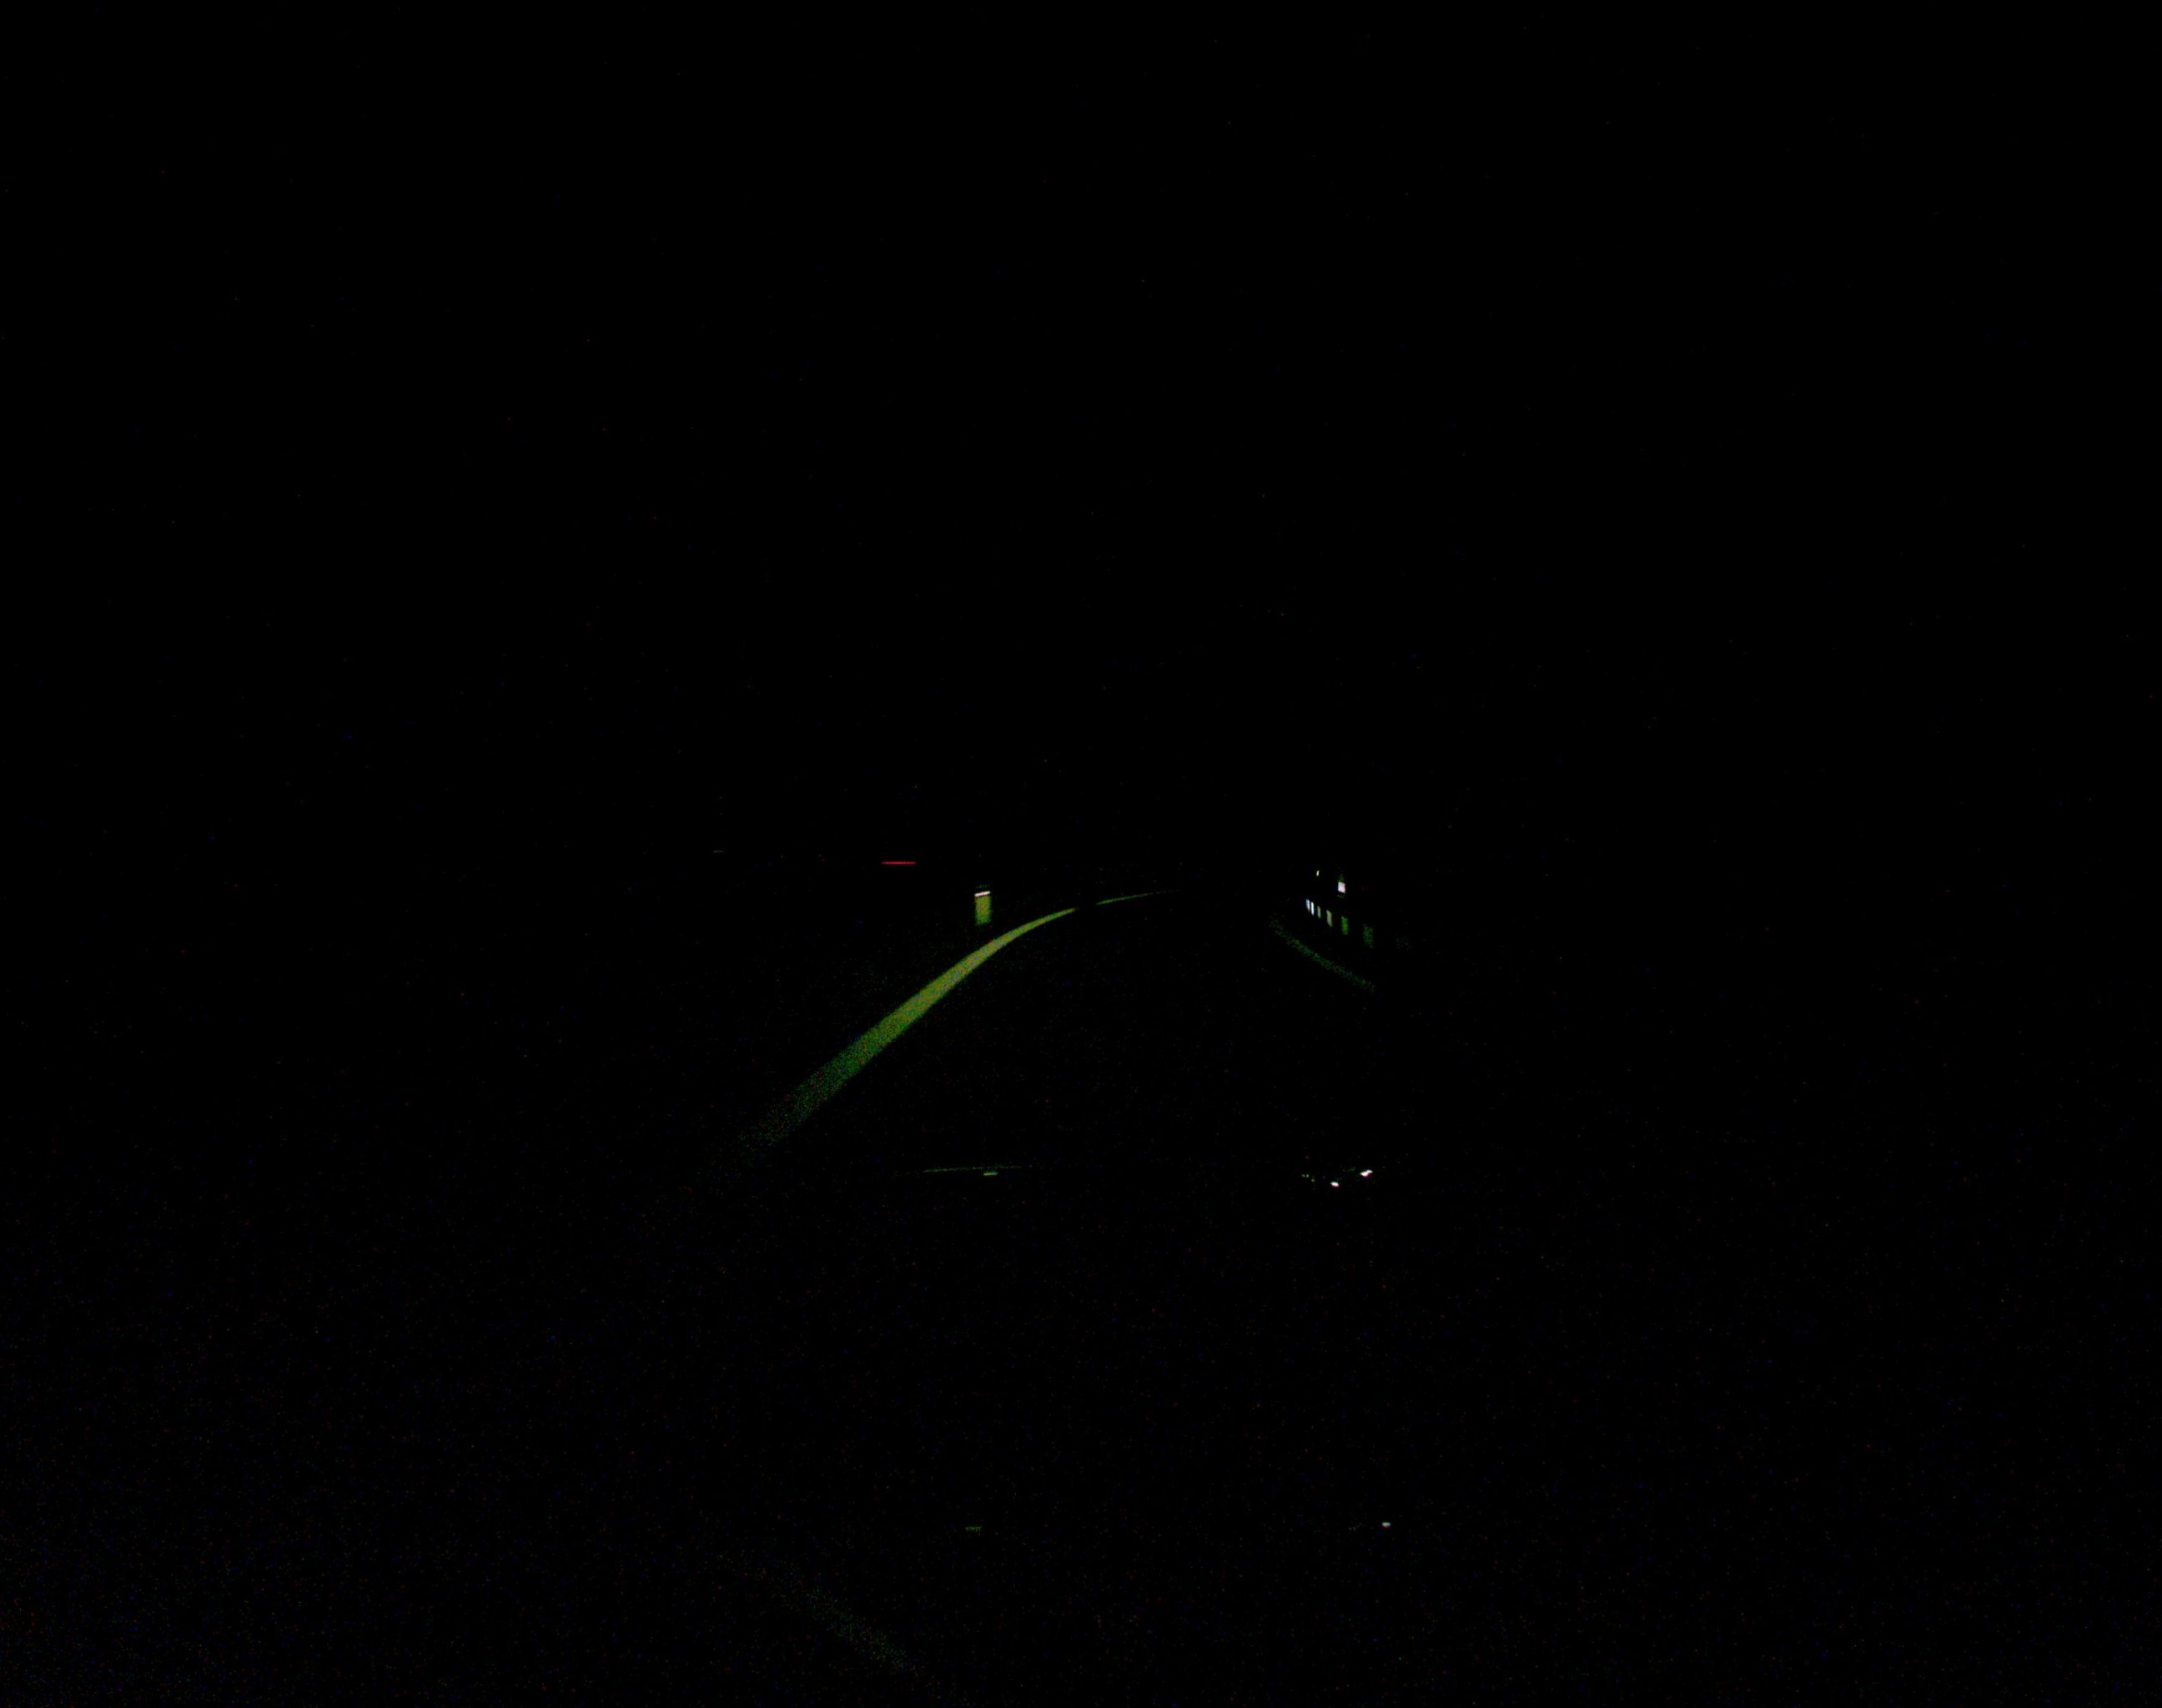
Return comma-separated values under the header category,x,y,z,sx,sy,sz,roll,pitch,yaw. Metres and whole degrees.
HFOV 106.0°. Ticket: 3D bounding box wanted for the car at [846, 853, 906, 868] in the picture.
category,x,y,z,sx,sy,sz,roll,pitch,yaw
car,-15.259,0.458,60.623,4.016,1.059,1.547,0,0,-35
